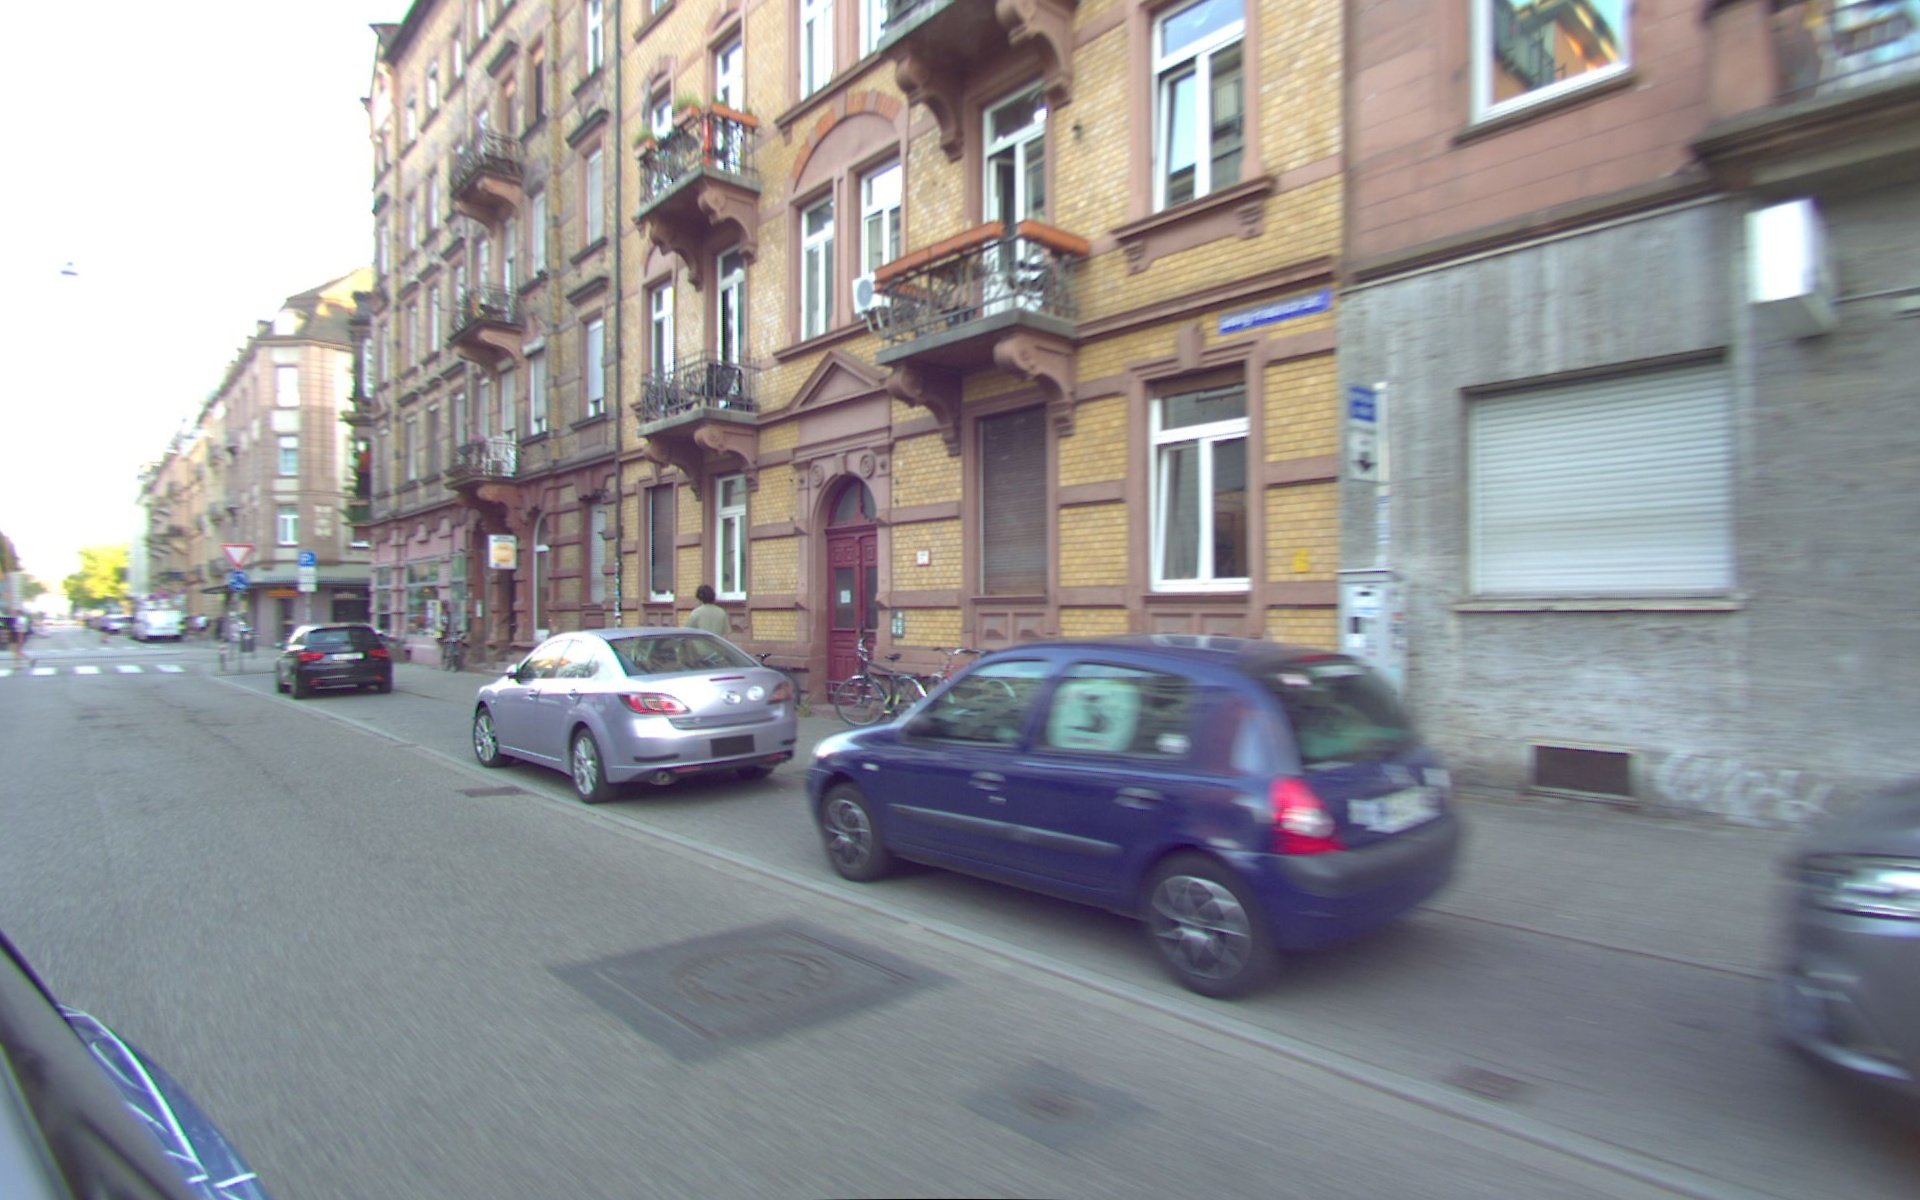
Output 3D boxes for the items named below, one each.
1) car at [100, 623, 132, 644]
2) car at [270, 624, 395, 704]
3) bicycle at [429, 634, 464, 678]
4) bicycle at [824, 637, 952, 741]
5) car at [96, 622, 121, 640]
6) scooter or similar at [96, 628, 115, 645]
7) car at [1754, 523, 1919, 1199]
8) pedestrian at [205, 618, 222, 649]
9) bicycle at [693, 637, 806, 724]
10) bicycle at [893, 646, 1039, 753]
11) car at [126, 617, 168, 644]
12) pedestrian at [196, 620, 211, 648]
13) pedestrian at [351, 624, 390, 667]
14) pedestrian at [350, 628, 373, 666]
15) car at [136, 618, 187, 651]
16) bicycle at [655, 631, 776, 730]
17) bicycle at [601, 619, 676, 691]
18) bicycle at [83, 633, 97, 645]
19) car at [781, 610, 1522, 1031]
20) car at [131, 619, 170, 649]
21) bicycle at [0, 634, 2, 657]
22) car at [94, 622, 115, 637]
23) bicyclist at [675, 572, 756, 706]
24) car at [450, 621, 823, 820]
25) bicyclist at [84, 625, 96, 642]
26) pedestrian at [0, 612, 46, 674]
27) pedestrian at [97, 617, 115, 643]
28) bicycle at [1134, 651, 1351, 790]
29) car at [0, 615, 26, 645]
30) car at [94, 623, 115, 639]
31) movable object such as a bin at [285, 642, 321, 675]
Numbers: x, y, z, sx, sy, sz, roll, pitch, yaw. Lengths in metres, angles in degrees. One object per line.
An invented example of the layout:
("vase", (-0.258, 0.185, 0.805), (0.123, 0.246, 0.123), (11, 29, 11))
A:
("car", (-78.320, 3.079, 93.904), (2.110, 1.835, 4.546), (0, -1, -42))
("car", (-12.876, 1.236, 20.678), (1.672, 1.431, 3.861), (-1, -1, -39))
("bicycle", (-13.280, 1.422, 26.139), (0.420, 1.061, 1.901), (0, -1, -39))
("bicycle", (-0.903, 1.039, 12.280), (0.542, 1.132, 1.762), (-3, 0, -42))
("car", (-91.230, 3.308, 108.478), (1.968, 1.752, 4.007), (0, 0, -39))
("scooter or similar", (-55.589, 2.365, 65.845), (1.172, 1.112, 0.798), (-2, -2, 42))
("car", (4.210, 0.584, 1.542), (1.831, 1.646, 4.451), (-1, -1, -42))
("pedestrian", (-43.929, 1.984, 59.564), (0.644, 1.792, 0.694), (-1, -1, -24))
("bicycle", (-3.016, 1.112, 14.411), (1.610, 1.132, 0.730), (-2, -1, 41))
("bicycle", (0.031, 1.060, 11.230), (0.542, 1.045, 1.762), (-3, 0, -42))
("car", (-58.732, 2.166, 73.082), (2.109, 1.835, 4.546), (0, -1, -41))
("pedestrian", (-49.986, 2.237, 66.869), (0.737, 1.757, 1.215), (-1, 0, -38))
("pedestrian", (-18.173, 1.400, 31.184), (0.905, 1.264, 0.643), (-2, 1, 33))
("pedestrian", (-18.880, 1.478, 31.944), (0.497, 1.152, 0.792), (0, 0, -41))
("car", (-50.630, 2.127, 64.127), (2.110, 1.973, 4.774), (-1, -1, -43))
("bicycle", (-3.319, 1.051, 13.689), (1.740, 1.205, 0.701), (0, 0, 40))
("bicycle", (-5.723, 0.946, 17.956), (0.520, 1.180, 2.051), (-2, 0, -39))
("bicycle", (-84.481, 3.793, 98.275), (1.975, 1.139, 0.744), (-2, -2, 42))
("car", (0.706, 0.813, 5.423), (1.565, 1.431, 3.701), (-1, -1, -41))
("car", (-54.865, 2.263, 68.565), (1.851, 1.918, 4.332), (0, -1, -41))
("bicycle", (-50.549, 2.316, 52.285), (2.100, 1.178, 0.661), (0, -3, 21))
("car", (-104.922, 3.621, 124.122), (1.879, 1.752, 3.857), (0, 0, -39))
("bicyclist", (-3.299, 0.505, 13.671), (0.842, 1.742, 0.701), (0, 0, 40))
("car", (-3.359, 0.954, 9.862), (1.702, 1.431, 4.587), (-1, 0, -42))
("bicyclist", (-84.495, 3.272, 98.286), (1.201, 1.653, 0.744), (-2, -2, 42))
("pedestrian", (-28.483, 1.310, 30.672), (1.031, 1.825, 0.758), (-1, -3, -32))
("pedestrian", (-55.590, 1.965, 65.858), (0.672, 1.672, 0.798), (-2, -3, 42))
("bicycle", (2.427, 0.999, 8.885), (0.444, 1.030, 1.850), (-4, 2, -42))
("car", (-72.466, 2.258, 74.417), (2.323, 2.211, 5.108), (0, 0, 22))
("car", (-101.227, 3.662, 119.810), (1.840, 1.752, 3.807), (0, 0, -39))
("movable object such as a bin", (-19.438, 1.728, 29.929), (0.730, 0.922, 0.752), (0, 0, 44))
